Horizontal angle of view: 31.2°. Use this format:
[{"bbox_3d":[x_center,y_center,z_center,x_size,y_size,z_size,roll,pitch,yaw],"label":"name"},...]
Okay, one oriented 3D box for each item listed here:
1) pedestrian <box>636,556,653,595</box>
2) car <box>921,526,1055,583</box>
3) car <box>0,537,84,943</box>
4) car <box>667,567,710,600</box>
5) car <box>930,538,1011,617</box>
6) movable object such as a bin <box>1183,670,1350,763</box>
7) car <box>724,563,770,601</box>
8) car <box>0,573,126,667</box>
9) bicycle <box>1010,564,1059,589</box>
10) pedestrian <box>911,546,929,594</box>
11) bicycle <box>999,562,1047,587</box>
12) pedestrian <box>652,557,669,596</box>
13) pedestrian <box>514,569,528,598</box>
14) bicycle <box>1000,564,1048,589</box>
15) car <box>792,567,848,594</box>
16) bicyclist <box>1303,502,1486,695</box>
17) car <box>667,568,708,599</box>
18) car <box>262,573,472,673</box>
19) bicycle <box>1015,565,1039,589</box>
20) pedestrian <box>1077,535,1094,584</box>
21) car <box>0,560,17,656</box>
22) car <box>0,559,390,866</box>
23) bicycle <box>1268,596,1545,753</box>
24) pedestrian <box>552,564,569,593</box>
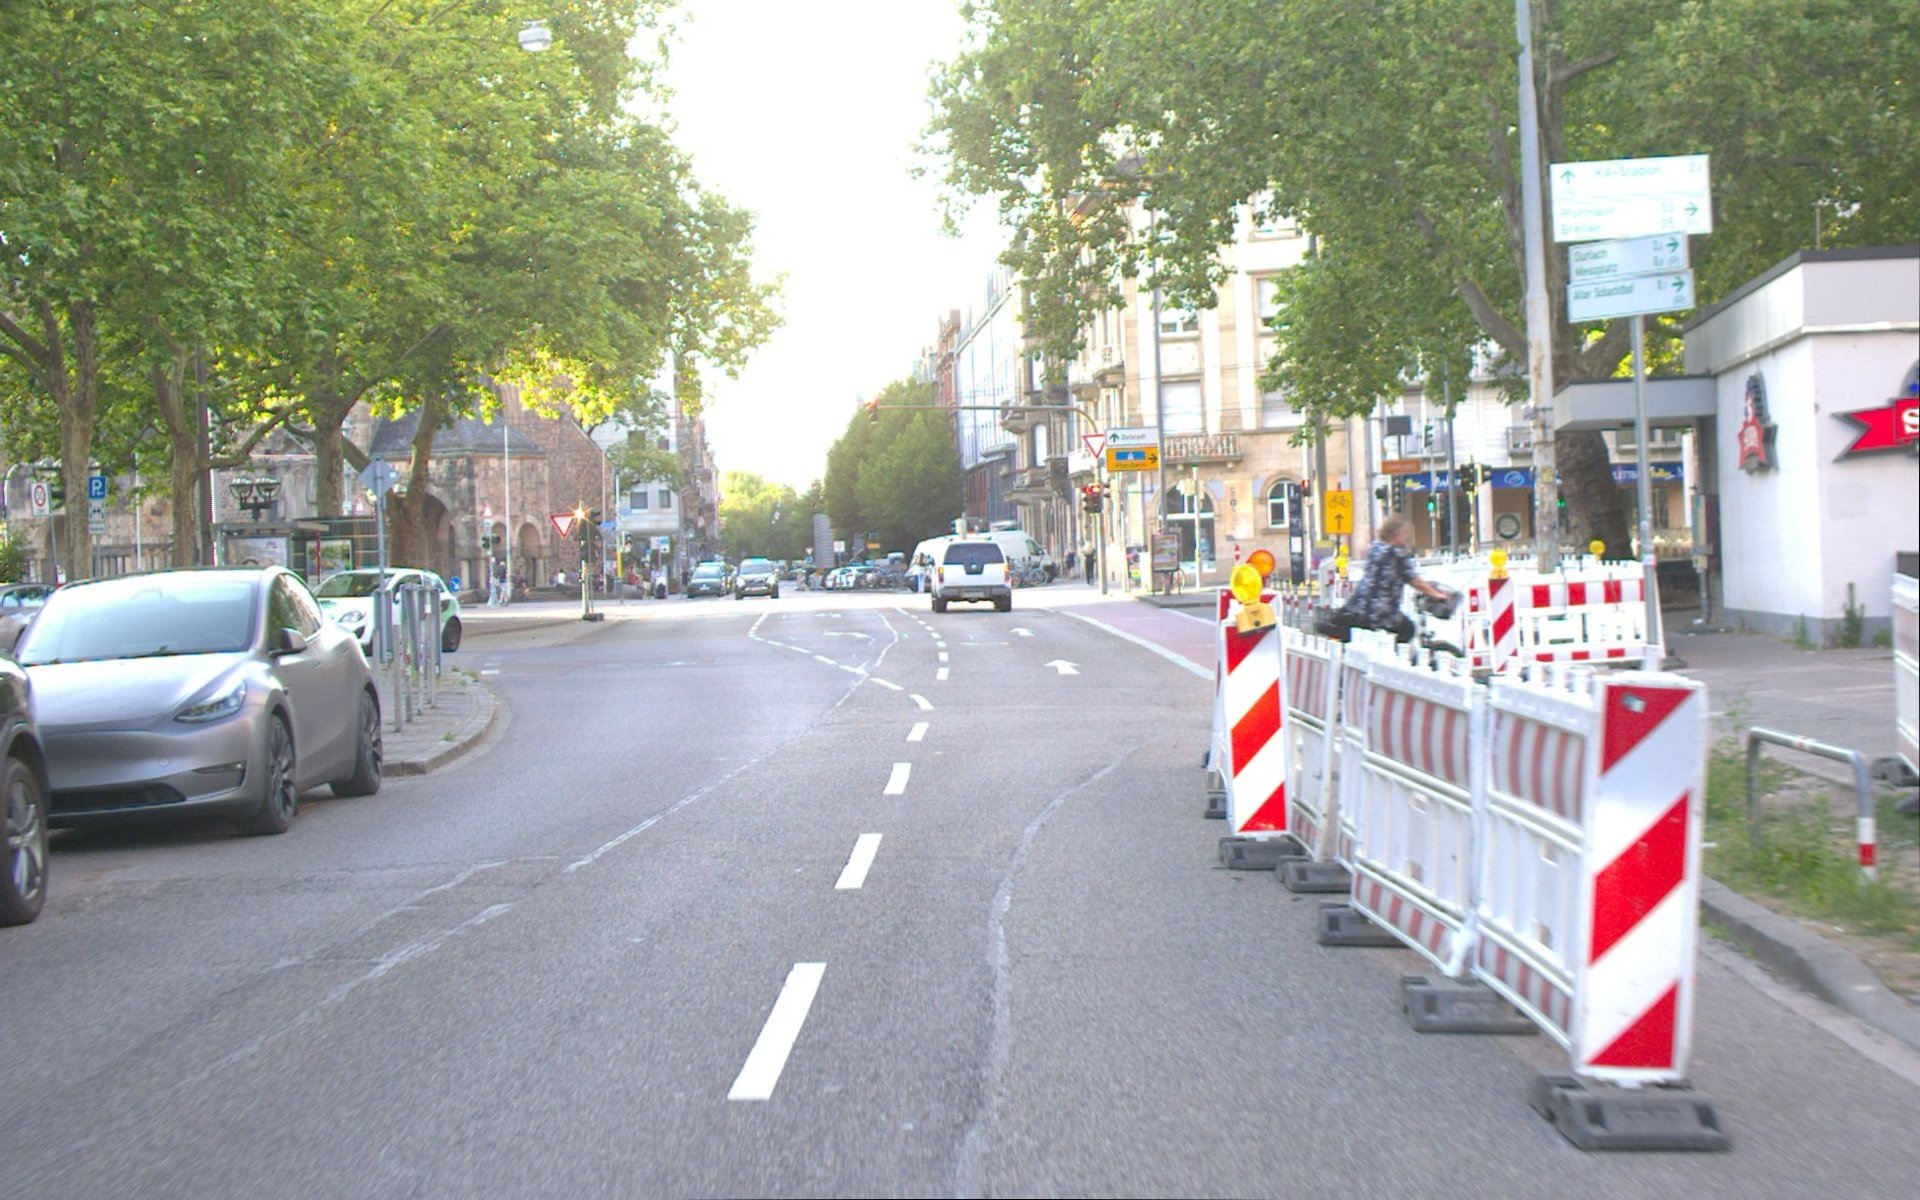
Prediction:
[{"bbox_3d":[-15.405,-1.197,167.971,0.593,1.880,0.585,-2,1,12],"label":"pedestrian"},{"bbox_3d":[1.223,-1.959,147.446,5.807,2.280,2.071,-3,1,-42],"label":"car"},{"bbox_3d":[-5.072,0.667,13.438,1.953,1.713,4.771,-4,1,0],"label":"car"},{"bbox_3d":[-13.757,-0.820,174.073,1.993,1.645,3.822,0,0,-7],"label":"car"},{"bbox_3d":[0.244,-0.567,85.043,1.866,1.808,4.000,-3,1,-1],"label":"car"},{"bbox_3d":[2.598,0.991,29.140,0.990,0.686,0.942,-5,0,-38],"label":"movable object such as a bin"},{"bbox_3d":[-9.431,-0.784,152.174,1.781,1.645,3.822,0,0,-7],"label":"car"},{"bbox_3d":[-16.778,0.353,61.050,1.820,1.476,4.628,-2,2,14],"label":"car"},{"bbox_3d":[3.095,-0.956,141.966,1.916,0.965,0.545,-2,1,15],"label":"bicycle"},{"bbox_3d":[-1.592,-1.186,136.718,0.593,1.880,0.647,-2,1,3],"label":"pedestrian"},{"bbox_3d":[2.583,-1.060,140.907,1.915,0.965,0.546,-2,1,0],"label":"bicycle"},{"bbox_3d":[-14.630,-1.163,167.910,0.593,1.880,0.553,-2,1,12],"label":"pedestrian"},{"bbox_3d":[-19.537,-0.718,153.021,0.497,1.276,0.492,-2,1,-23],"label":"pedestrian"},{"bbox_3d":[2.616,-0.949,141.187,1.915,0.965,0.546,-2,1,0],"label":"bicycle"},{"bbox_3d":[-10.366,-1.447,254.926,3.986,1.809,2.000,-2,1,-5],"label":"car"},{"bbox_3d":[3.797,-0.009,30.067,1.143,1.576,0.942,-5,0,-38],"label":"bicyclist"},{"bbox_3d":[-14.404,-0.872,181.795,1.993,1.645,3.822,0,0,-7],"label":"car"},{"bbox_3d":[-9.897,0.366,57.684,1.995,1.514,3.998,-1,1,14],"label":"car"},{"bbox_3d":[2.793,-0.967,143.331,0.544,0.965,1.920,-2,1,15],"label":"bicycle"},{"bbox_3d":[4.906,-1.592,134.041,0.593,1.880,0.647,-2,1,3],"label":"pedestrian"},{"bbox_3d":[-19.462,0.250,62.964,1.820,1.794,4.627,-2,2,20],"label":"car"},{"bbox_3d":[-4.959,0.613,21.289,1.953,1.611,4.605,-4,1,0],"label":"car"},{"bbox_3d":[3.925,0.648,30.128,2.352,1.168,0.942,-5,0,-38],"label":"bicycle"},{"bbox_3d":[-18.339,-0.976,157.799,0.573,1.286,0.486,-2,1,13],"label":"pedestrian"}]
